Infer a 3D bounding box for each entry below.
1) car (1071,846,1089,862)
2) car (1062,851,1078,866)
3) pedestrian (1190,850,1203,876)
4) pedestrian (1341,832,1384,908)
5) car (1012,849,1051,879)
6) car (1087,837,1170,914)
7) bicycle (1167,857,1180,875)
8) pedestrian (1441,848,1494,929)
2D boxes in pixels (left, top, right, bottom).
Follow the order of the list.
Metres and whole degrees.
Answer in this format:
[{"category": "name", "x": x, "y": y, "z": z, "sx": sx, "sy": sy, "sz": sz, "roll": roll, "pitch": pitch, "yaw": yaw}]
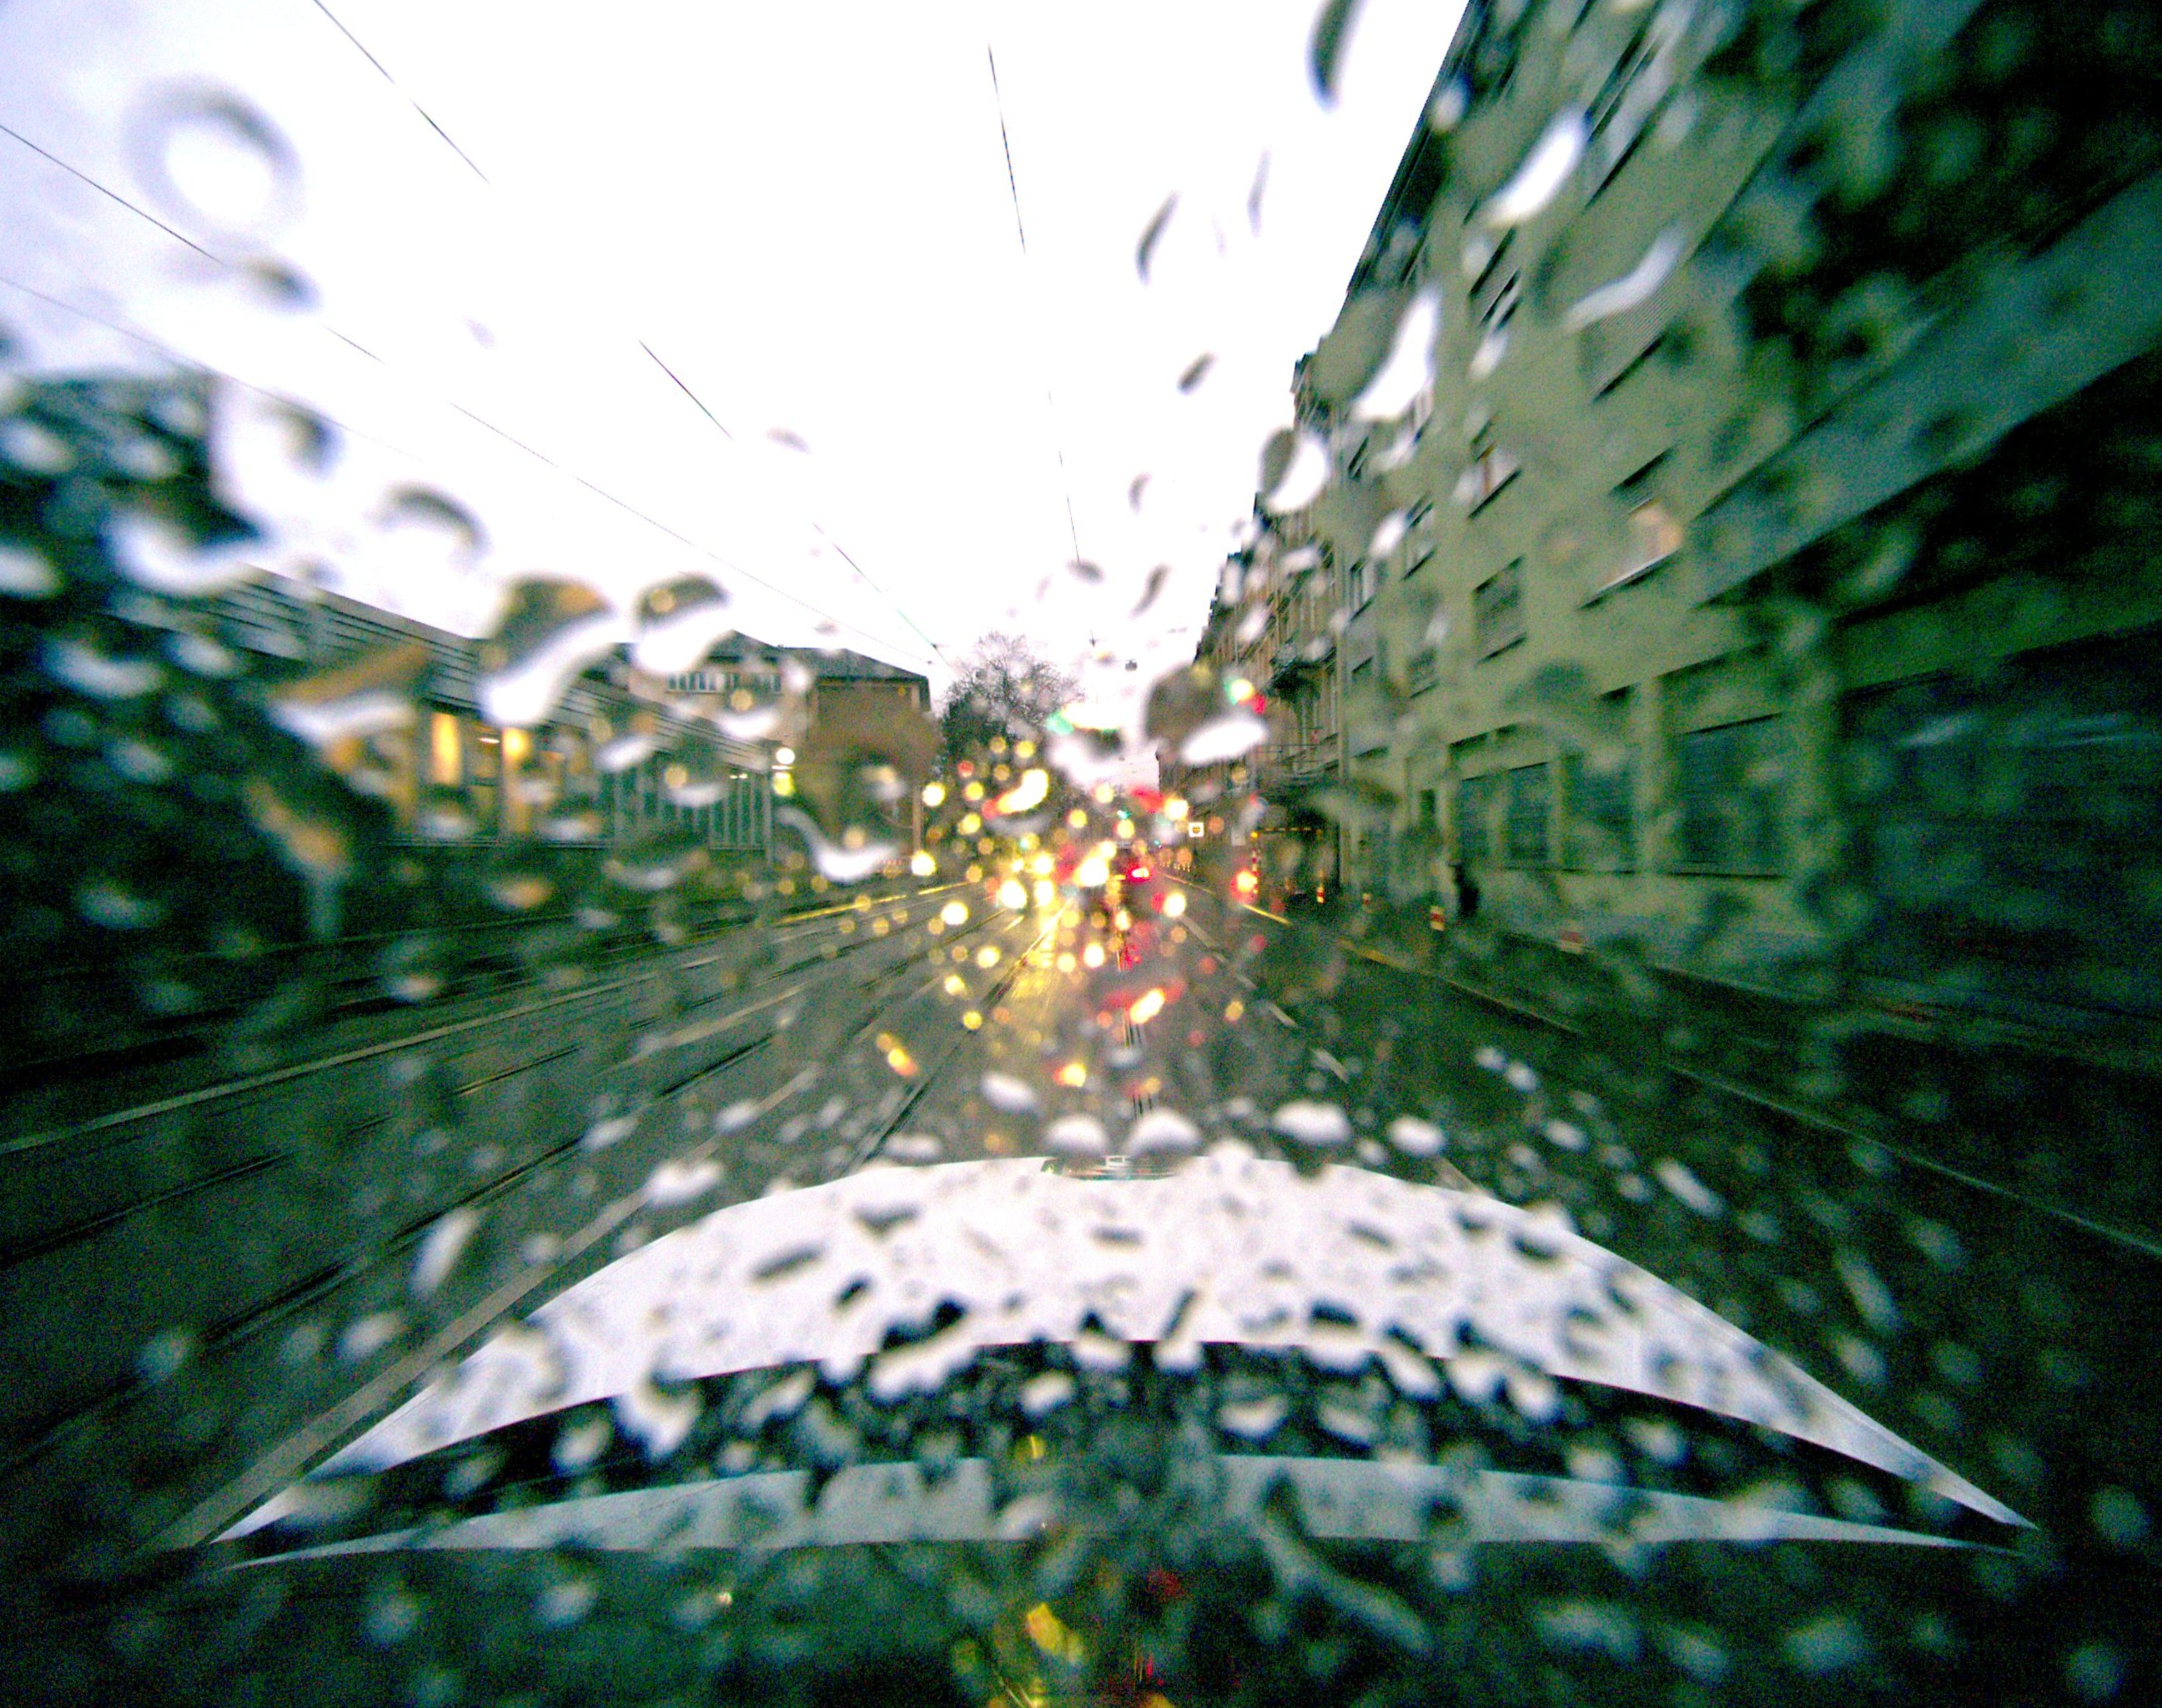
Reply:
[{"category": "car", "x": -0.098, "y": 0.014, "z": 126.777, "sx": 2.437, "sy": 2.347, "sz": 5.848, "roll": -2, "pitch": -1, "yaw": 2}, {"category": "car", "x": -1.155, "y": 0.470, "z": 88.183, "sx": 1.524, "sy": 1.481, "sz": 3.563, "roll": -1, "pitch": 0, "yaw": 2}, {"category": "pedestrian", "x": 7.793, "y": 0.601, "z": 54.801, "sx": 0.829, "sy": 1.701, "sz": 0.956, "roll": 0, "pitch": -1, "yaw": 10}, {"category": "pedestrian", "x": 6.851, "y": 0.384, "z": 19.842, "sx": 0.601, "sy": 1.818, "sz": 0.769, "roll": 0, "pitch": -1, "yaw": -26}, {"category": "car", "x": -2.945, "y": 0.578, "z": 49.295, "sx": 1.868, "sy": 1.710, "sz": 4.762, "roll": -2, "pitch": 0, "yaw": 1}, {"category": "car", "x": 1.305, "y": 0.526, "z": 21.582, "sx": 1.984, "sy": 1.842, "sz": 4.005, "roll": -1, "pitch": 0, "yaw": 5}, {"category": "bicycle", "x": 6.049, "y": 0.788, "z": 53.264, "sx": 0.681, "sy": 1.156, "sz": 2.189, "roll": 0, "pitch": -1, "yaw": 2}, {"category": "pedestrian", "x": 6.733, "y": 0.596, "z": 14.207, "sx": 0.597, "sy": 1.376, "sz": 0.728, "roll": 0, "pitch": -1, "yaw": 1}]
